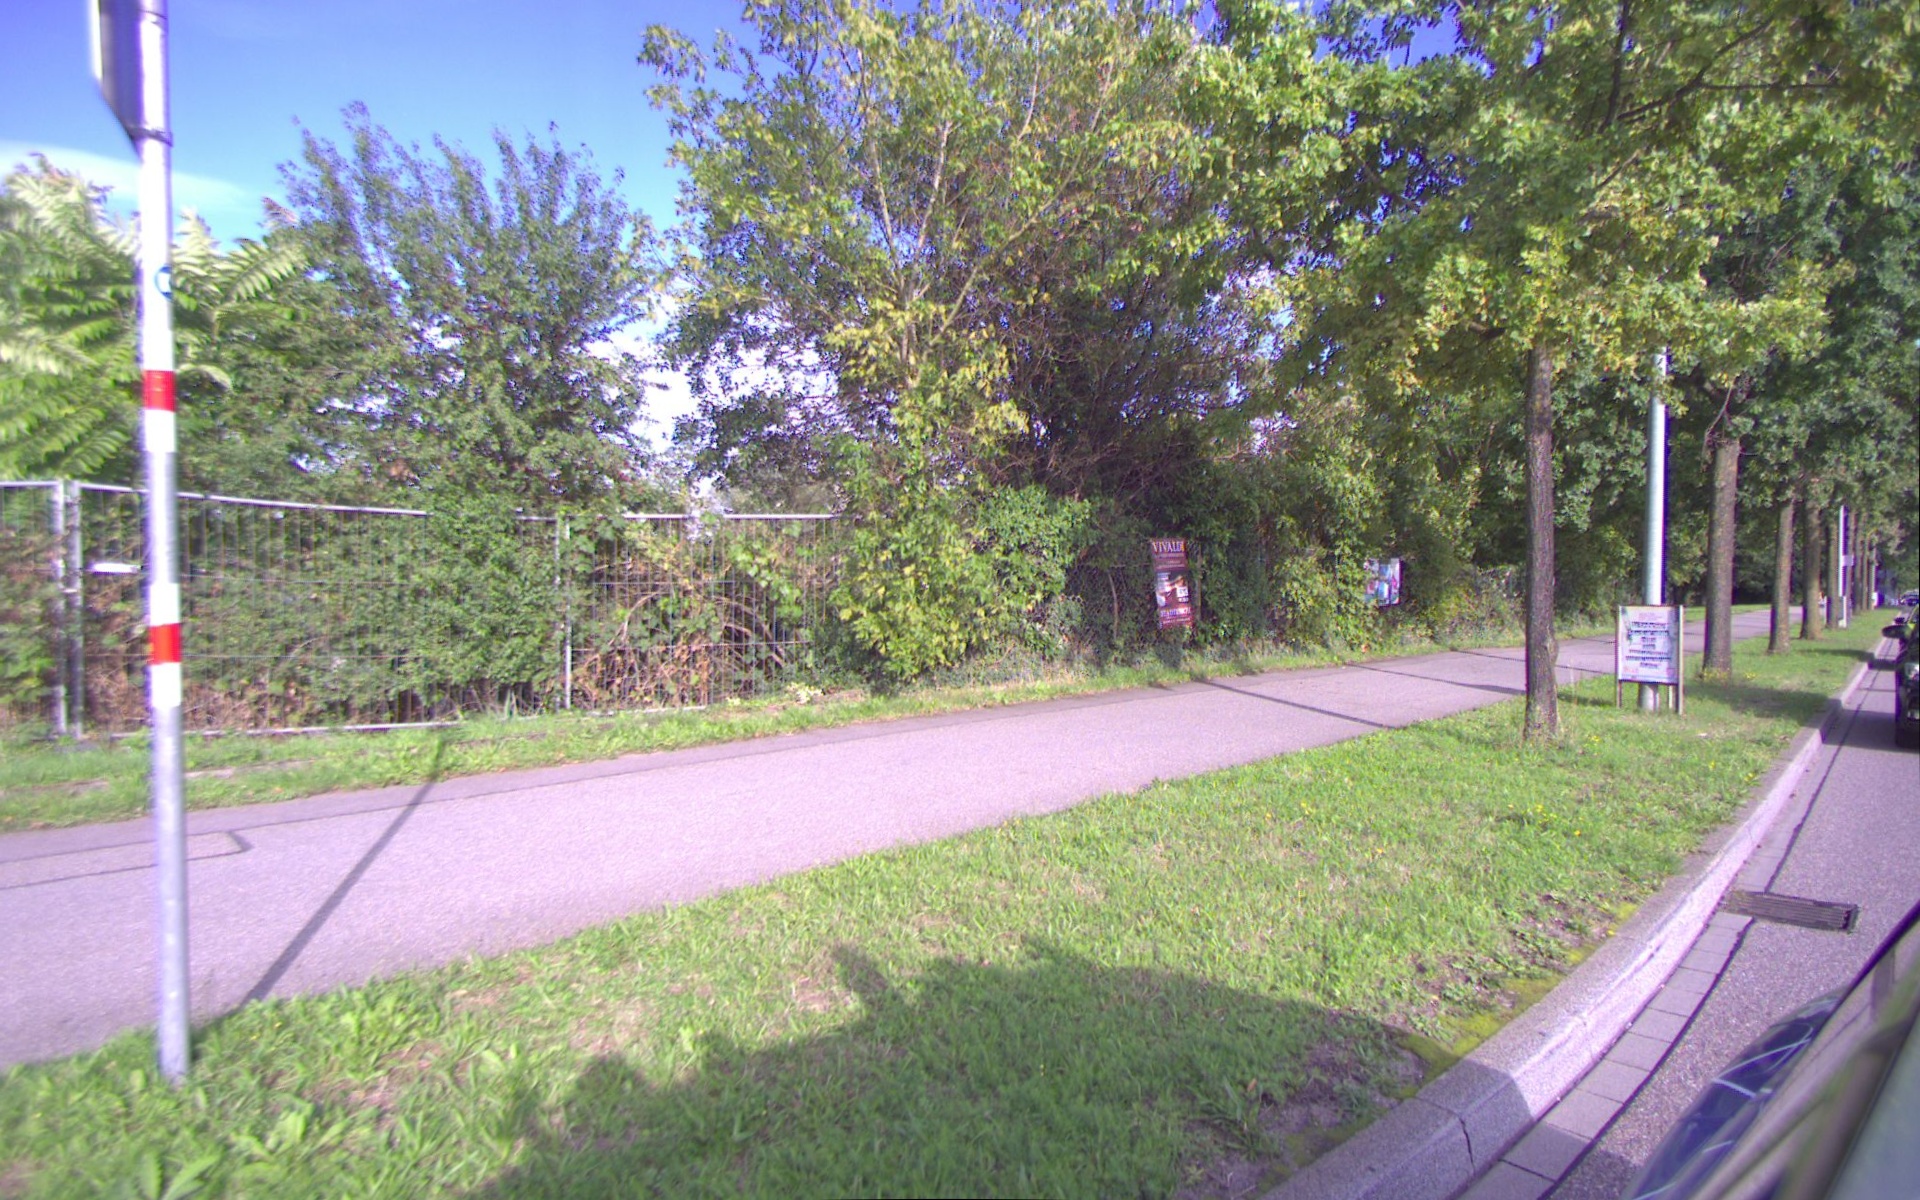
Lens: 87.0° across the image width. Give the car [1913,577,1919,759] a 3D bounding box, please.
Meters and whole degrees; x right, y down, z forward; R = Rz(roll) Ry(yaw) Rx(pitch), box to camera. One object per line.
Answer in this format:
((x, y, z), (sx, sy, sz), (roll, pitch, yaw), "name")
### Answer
((11.387, 0.589, 10.697), (1.866, 1.717, 4.937), (-2, 0, 43), "car")
